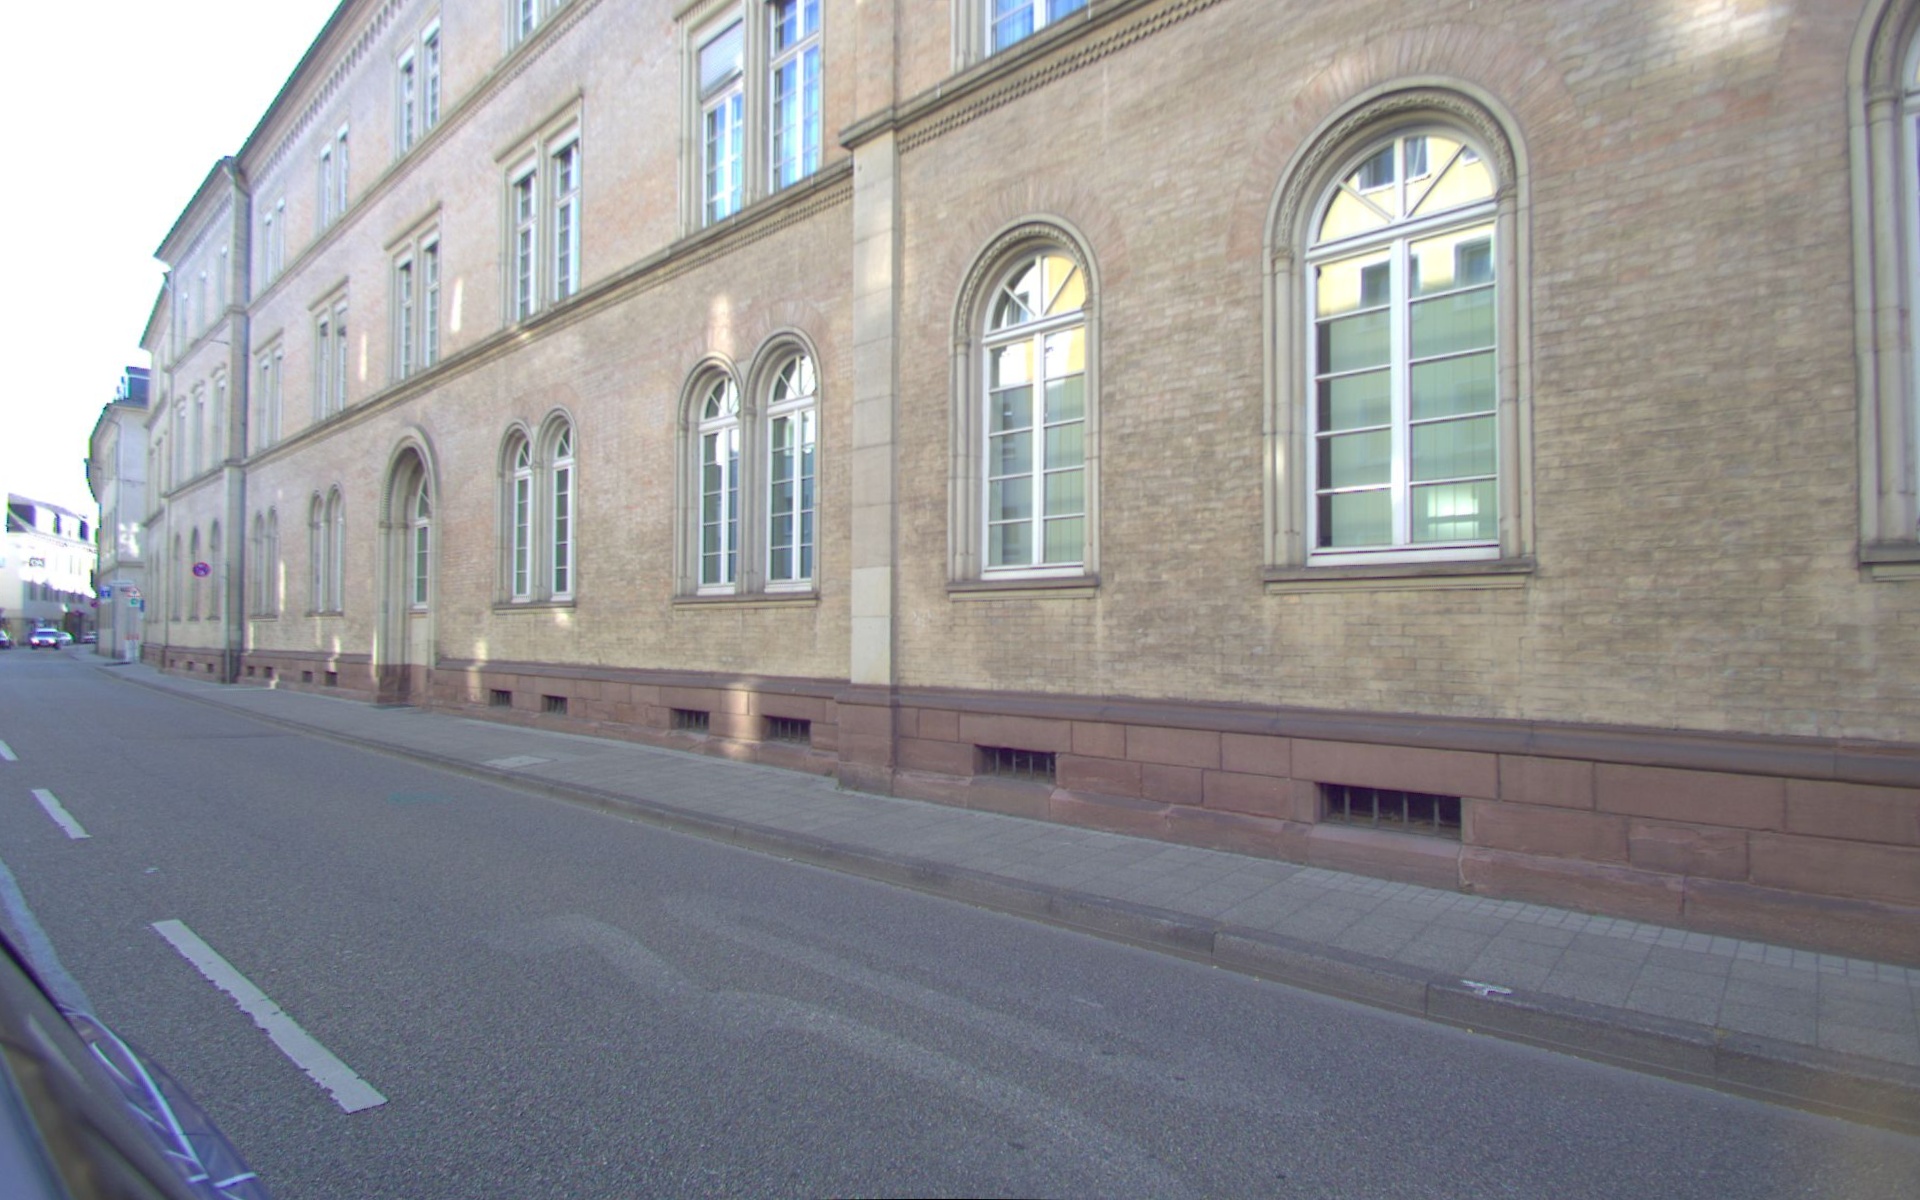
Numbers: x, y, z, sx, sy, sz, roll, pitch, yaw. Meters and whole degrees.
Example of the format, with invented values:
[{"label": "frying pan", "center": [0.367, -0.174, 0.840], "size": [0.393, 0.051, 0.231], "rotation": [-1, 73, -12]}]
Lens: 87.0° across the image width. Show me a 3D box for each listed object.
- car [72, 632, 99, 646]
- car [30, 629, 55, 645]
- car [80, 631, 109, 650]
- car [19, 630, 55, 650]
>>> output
[{"label": "car", "center": [-109.255, 4.824, 126.478], "size": [1.896, 1.737, 4.242], "rotation": [1, -2, -31]}, {"label": "car", "center": [-102.404, 4.157, 112.942], "size": [1.511, 1.737, 3.749], "rotation": [1, -2, -34]}, {"label": "car", "center": [-80.268, 3.721, 93.890], "size": [1.638, 1.737, 3.748], "rotation": [1, -2, -36]}, {"label": "car", "center": [-80.379, 3.478, 88.179], "size": [1.893, 1.735, 4.970], "rotation": [1, -2, -38]}]
